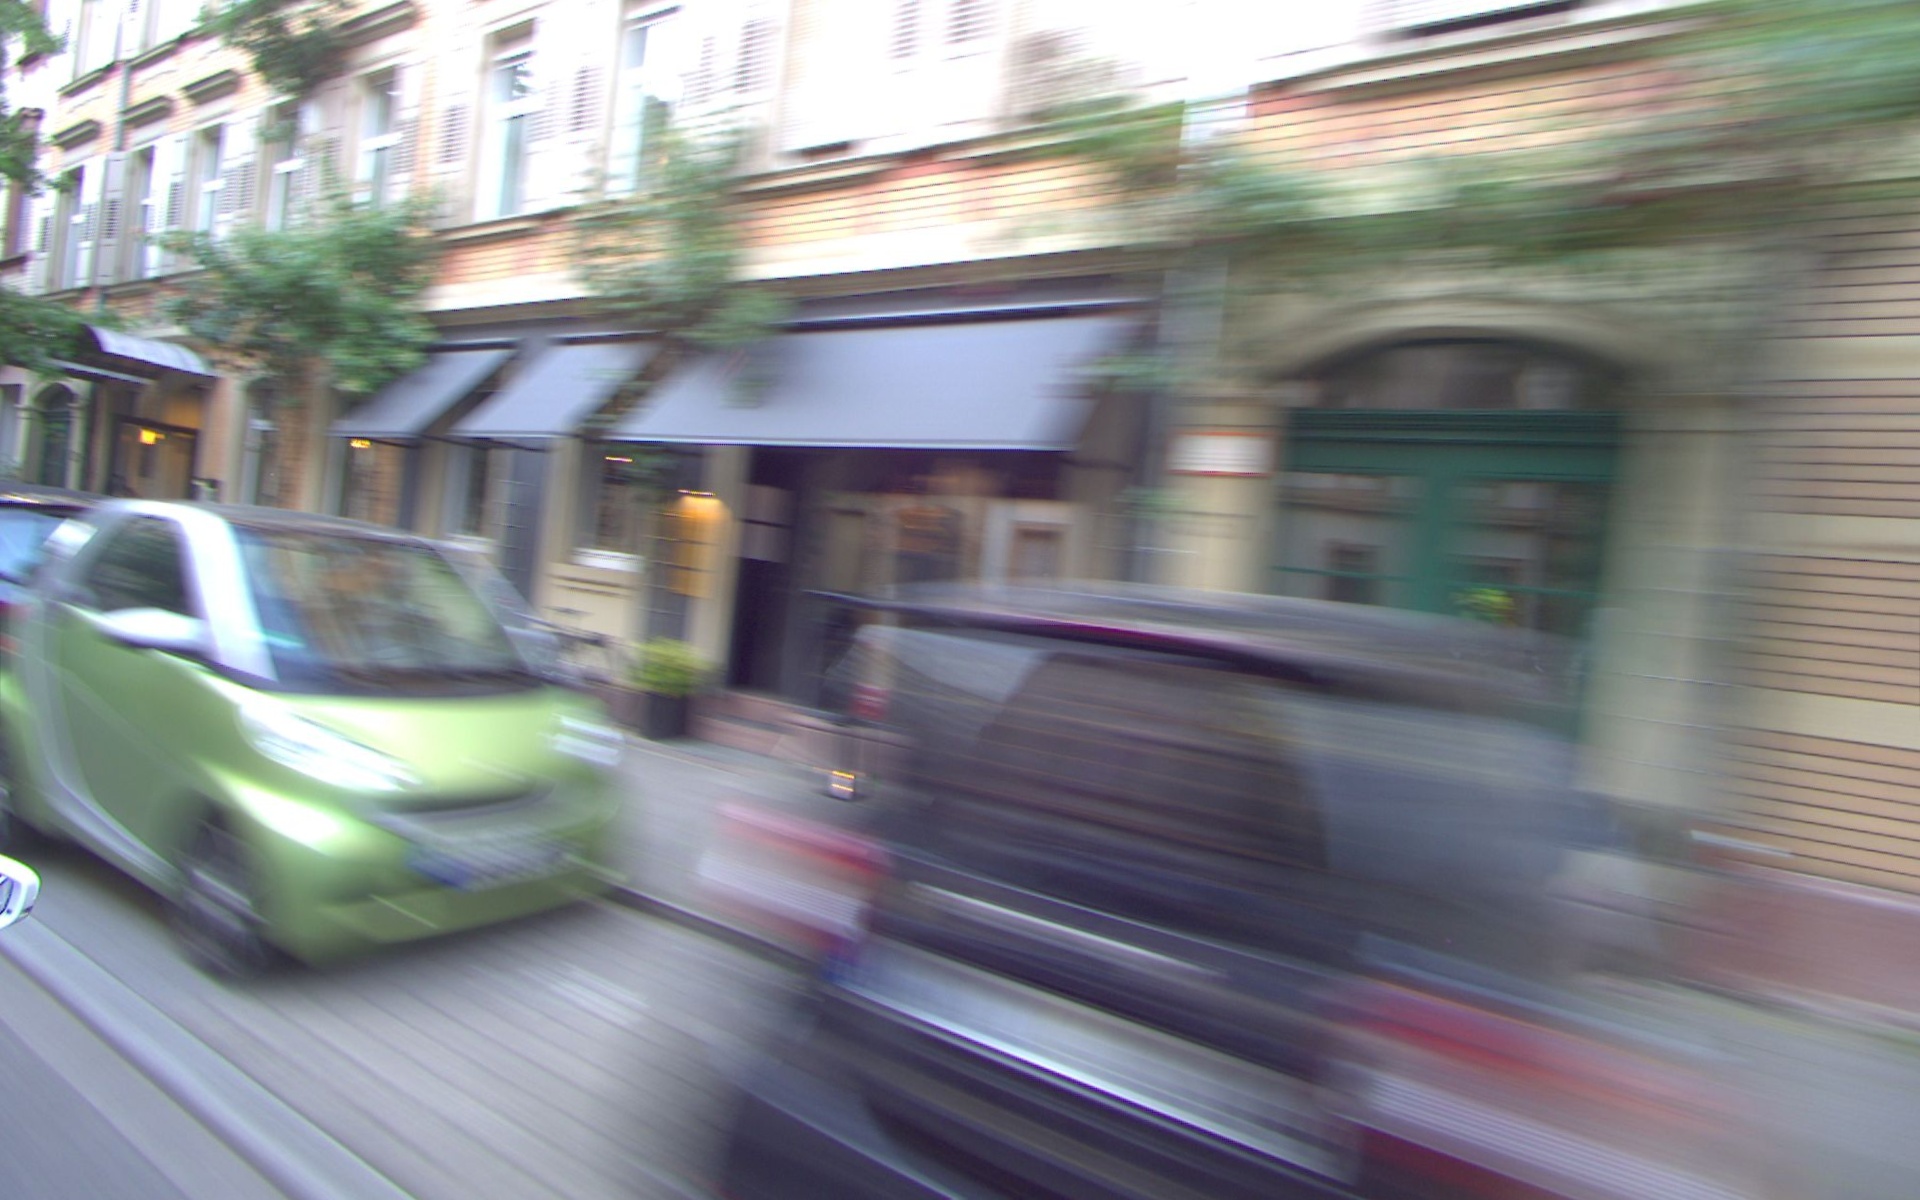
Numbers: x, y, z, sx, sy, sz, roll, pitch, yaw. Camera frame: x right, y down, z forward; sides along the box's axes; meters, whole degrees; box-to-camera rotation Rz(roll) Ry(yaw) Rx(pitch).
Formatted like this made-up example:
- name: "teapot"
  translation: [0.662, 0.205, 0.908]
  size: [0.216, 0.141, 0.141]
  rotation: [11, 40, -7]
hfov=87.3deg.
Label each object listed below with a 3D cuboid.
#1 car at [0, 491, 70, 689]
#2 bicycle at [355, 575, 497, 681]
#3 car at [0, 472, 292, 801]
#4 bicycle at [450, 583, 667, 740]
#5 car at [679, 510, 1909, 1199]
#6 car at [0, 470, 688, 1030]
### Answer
- name: "car"
  translation: [-9.284, -0.306, 8.317]
  size: [4.036, 1.510, 1.735]
  rotation: [7, 0, 32]
- name: "bicycle"
  translation: [-5.325, 0.269, 10.000]
  size: [1.521, 0.870, 0.446]
  rotation: [7, 0, 31]
- name: "car"
  translation: [-5.694, 0.060, 5.969]
  size: [3.070, 1.580, 1.593]
  rotation: [7, 0, 30]
- name: "bicycle"
  translation: [-3.453, 0.478, 8.581]
  size: [1.918, 1.050, 0.686]
  rotation: [7, 3, 33]
- name: "car"
  translation: [0.878, 0.764, 2.531]
  size: [1.501, 1.594, 2.715]
  rotation: [7, 2, 31]
- name: "car"
  translation: [-2.825, 0.388, 4.305]
  size: [2.867, 1.572, 1.466]
  rotation: [7, 1, 28]
